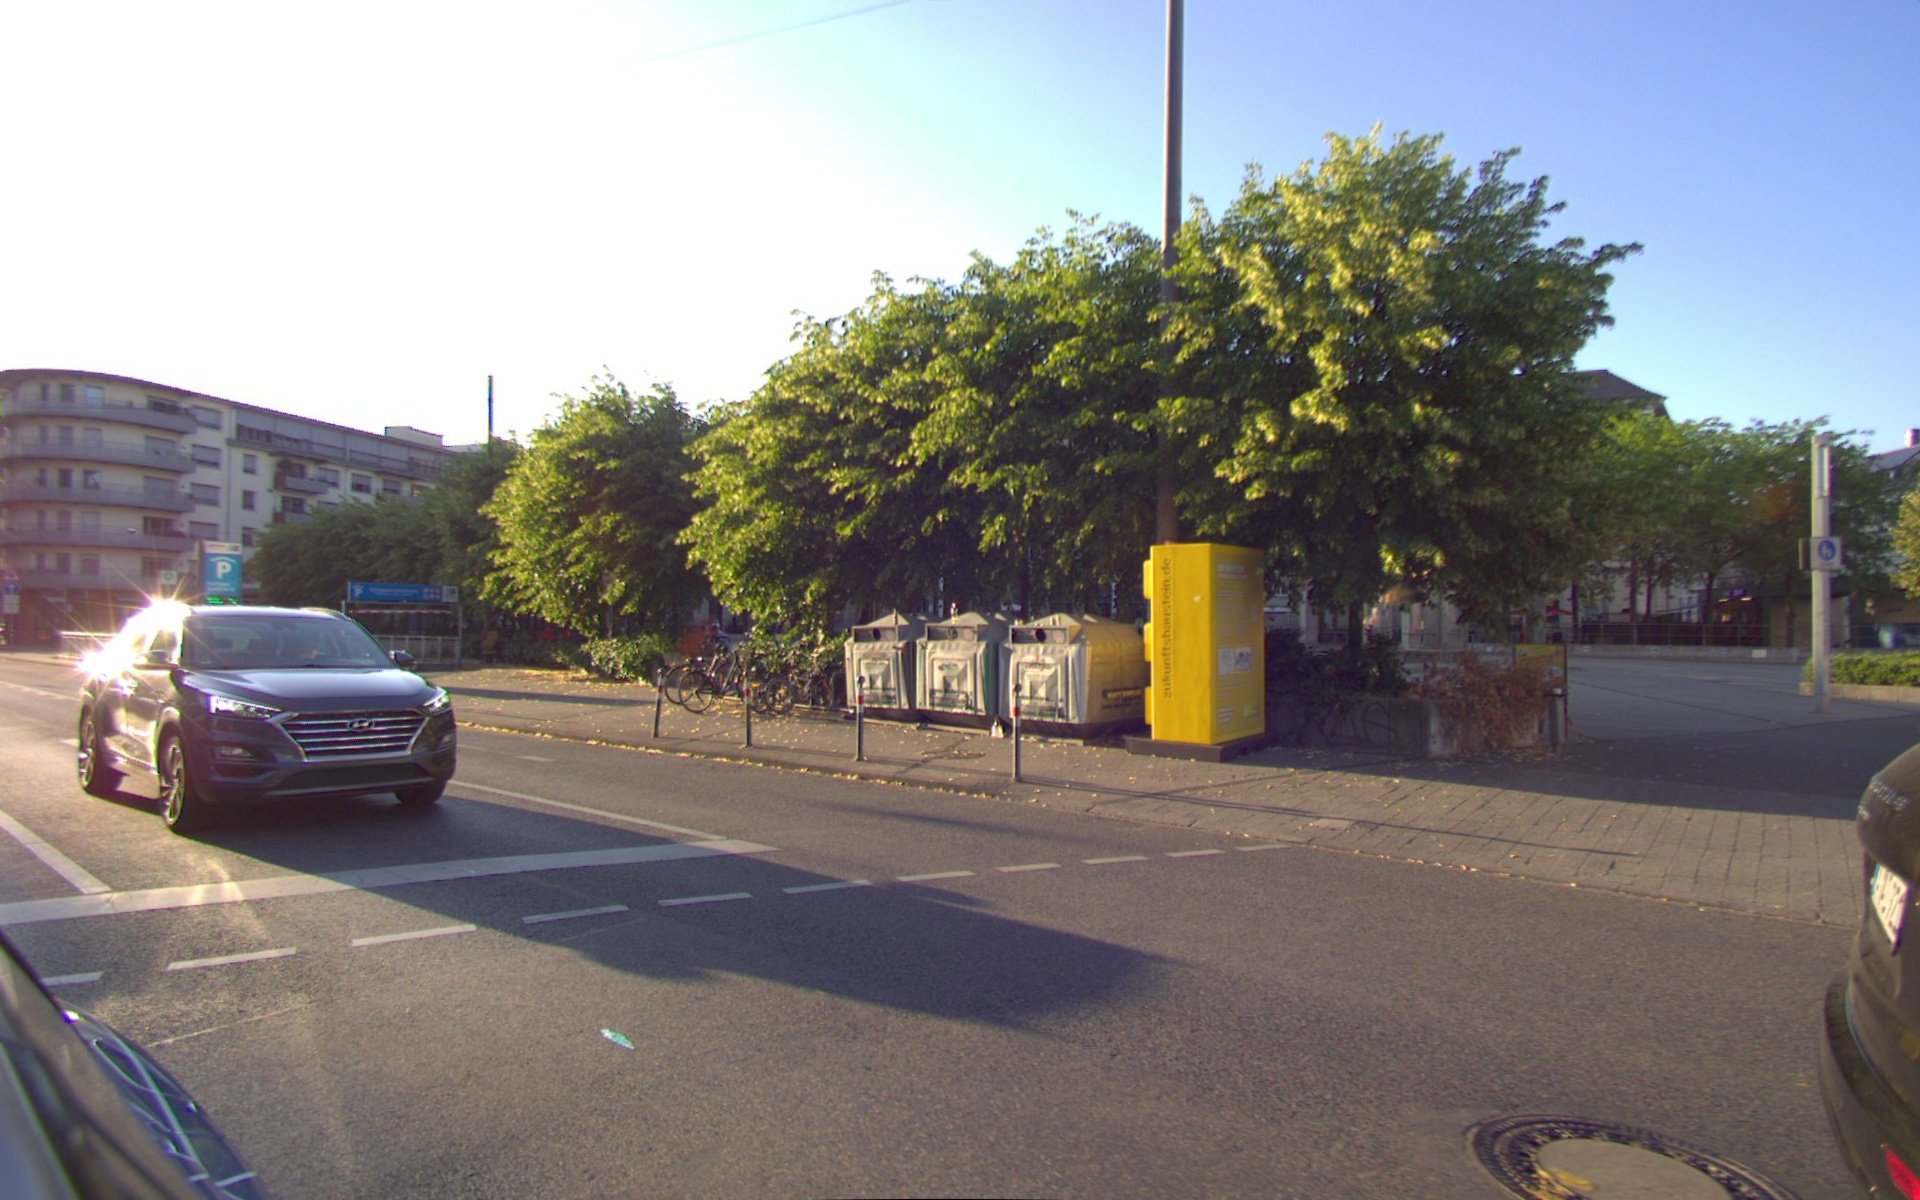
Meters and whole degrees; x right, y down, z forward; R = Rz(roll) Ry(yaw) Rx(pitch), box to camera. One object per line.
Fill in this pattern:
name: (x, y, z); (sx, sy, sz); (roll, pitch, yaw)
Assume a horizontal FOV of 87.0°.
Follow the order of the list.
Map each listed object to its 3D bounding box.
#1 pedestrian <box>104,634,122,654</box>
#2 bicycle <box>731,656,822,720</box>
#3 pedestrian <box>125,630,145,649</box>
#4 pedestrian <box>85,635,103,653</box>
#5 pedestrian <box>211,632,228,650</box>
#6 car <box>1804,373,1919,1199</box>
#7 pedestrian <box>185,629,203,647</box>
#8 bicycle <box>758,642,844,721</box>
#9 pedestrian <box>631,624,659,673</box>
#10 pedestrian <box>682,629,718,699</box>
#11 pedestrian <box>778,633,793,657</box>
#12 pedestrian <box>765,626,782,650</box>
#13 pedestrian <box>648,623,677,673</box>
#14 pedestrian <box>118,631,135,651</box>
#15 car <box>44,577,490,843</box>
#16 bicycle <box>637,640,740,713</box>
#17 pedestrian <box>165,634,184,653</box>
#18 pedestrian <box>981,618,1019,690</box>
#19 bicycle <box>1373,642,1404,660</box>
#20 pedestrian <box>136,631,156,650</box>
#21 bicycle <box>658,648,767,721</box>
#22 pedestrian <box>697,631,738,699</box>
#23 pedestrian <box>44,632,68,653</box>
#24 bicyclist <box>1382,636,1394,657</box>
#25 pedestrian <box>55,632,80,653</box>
pedestrian: (-56.807, 2.975, 67.895); (0.888, 1.332, 0.723); (-1, -2, 38)
bicycle: (-3.168, 1.509, 17.627); (0.547, 0.986, 1.659); (-1, -1, 35)
pedestrian: (-56.869, 2.706, 69.783); (0.813, 1.332, 0.684); (0, -2, 16)
pedestrian: (-56.761, 2.881, 66.312); (0.875, 1.201, 0.734); (2, -3, -41)
pedestrian: (-54.520, 3.002, 74.528); (0.721, 1.332, 0.891); (1, -2, -12)
car: (3.438, 0.599, 0.490); (4.556, 1.727, 1.929); (-1, -3, 39)
pedestrian: (-56.786, 2.844, 75.042); (0.721, 1.332, 0.891); (1, -2, -12)
bicycle: (-2.707, 1.369, 17.368); (0.444, 1.262, 1.571); (-1, -1, 38)
pedestrian: (-13.195, 2.015, 42.434); (0.733, 2.029, 0.901); (0, -2, 16)
pedestrian: (-7.706, 1.865, 29.951); (0.890, 2.029, 0.859); (1, -2, -23)
pedestrian: (-10.051, 2.599, 58.197); (0.651, 1.386, 0.515); (0, -2, 25)
pedestrian: (-10.811, 2.195, 58.714); (0.651, 1.387, 0.656); (-1, -4, 25)
pedestrian: (-12.277, 1.960, 41.771); (0.736, 2.029, 0.898); (-1, -2, 28)
pedestrian: (-56.348, 2.748, 68.411); (0.887, 1.332, 0.724); (-1, -2, 37)
car: (-6.027, 0.783, 8.602); (4.444, 1.702, 1.854); (-1, -4, 38)
bicycle: (-5.152, 1.430, 19.324); (0.547, 1.262, 2.007); (-1, -1, 35)
pedestrian: (-55.520, 3.086, 71.534); (0.883, 1.332, 0.727); (-1, -2, 25)
pedestrian: (0.987, 1.307, 24.970); (0.723, 1.738, 0.899); (0, -1, -13)
bicycle: (30.344, 3.611, 71.690); (2.012, 1.270, 0.577); (0, -1, 16)
pedestrian: (-55.921, 2.783, 69.503); (0.884, 1.332, 0.726); (-1, -2, 26)
bicycle: (-4.300, 1.444, 17.724); (0.547, 1.143, 2.007); (-1, -1, 35)
pedestrian: (-7.379, 1.955, 30.804); (0.852, 2.029, 0.898); (-1, -2, 26)
pedestrian: (-57.854, 2.697, 64.764); (0.725, 1.332, 0.885); (0, -2, 12)
bicyclist: (30.323, 3.290, 71.703); (0.764, 1.459, 0.637); (0, -1, 16)
pedestrian: (-56.950, 2.725, 64.581); (0.724, 1.332, 0.886); (0, -2, 8)
